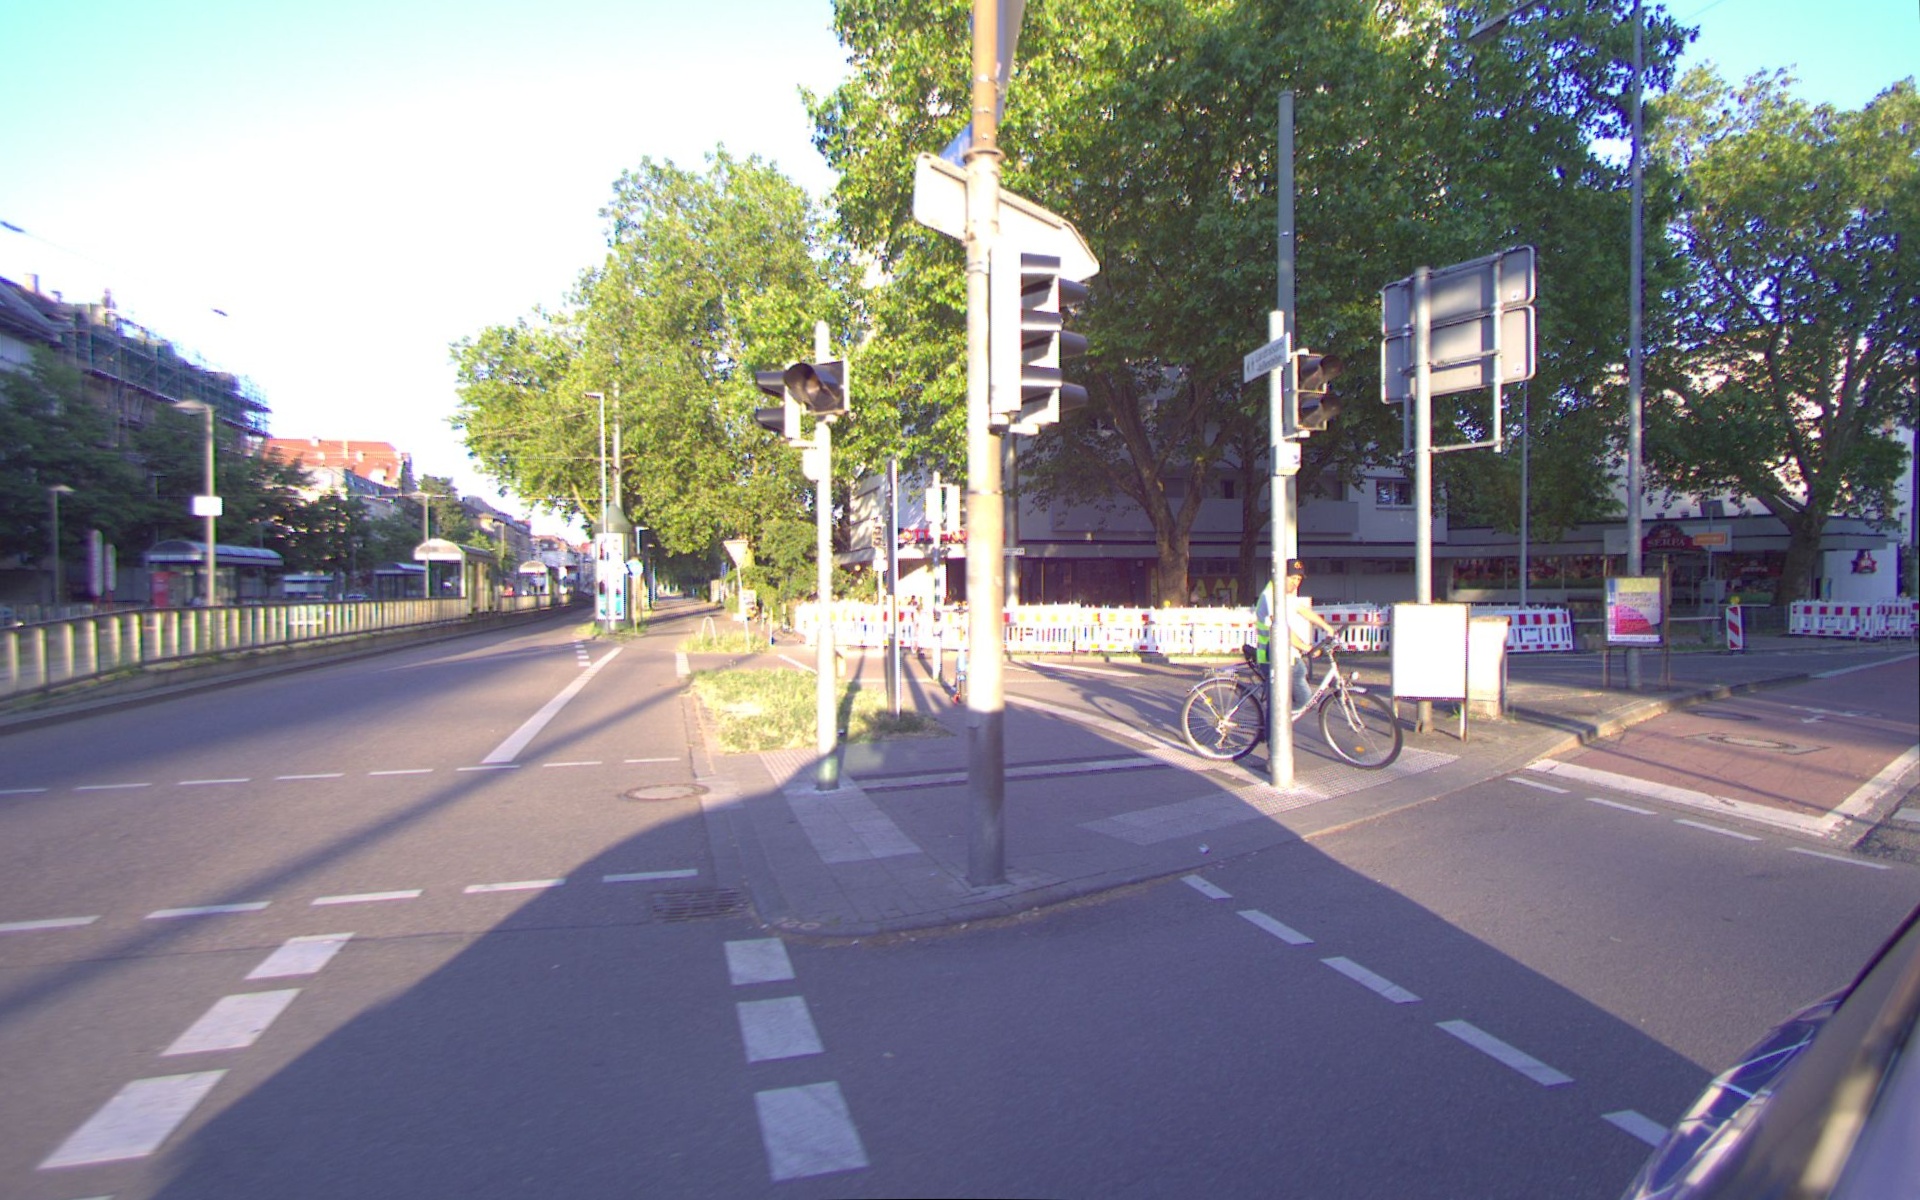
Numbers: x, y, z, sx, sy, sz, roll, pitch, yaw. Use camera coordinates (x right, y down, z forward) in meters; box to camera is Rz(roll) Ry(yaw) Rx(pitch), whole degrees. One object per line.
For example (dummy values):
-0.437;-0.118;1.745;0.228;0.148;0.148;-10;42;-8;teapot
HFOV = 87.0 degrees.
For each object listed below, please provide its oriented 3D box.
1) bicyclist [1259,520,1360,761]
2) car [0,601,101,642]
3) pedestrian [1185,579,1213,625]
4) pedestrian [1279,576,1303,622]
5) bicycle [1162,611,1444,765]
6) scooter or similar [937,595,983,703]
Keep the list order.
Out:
2.800;0.314;8.149;0.689;1.847;0.624;-2;0;19;bicyclist
-36.598;0.835;40.512;1.811;1.504;4.008;-2;1;-15;car
8.520;0.055;36.116;0.639;1.608;0.735;-2;0;44;pedestrian
11.740;-0.042;35.897;0.636;1.608;0.738;-2;0;31;pedestrian
2.723;0.687;8.183;2.045;1.123;0.624;-2;0;19;bicycle
-0.001;0.584;12.683;0.506;1.265;1.234;-2;0;0;scooter or similar
